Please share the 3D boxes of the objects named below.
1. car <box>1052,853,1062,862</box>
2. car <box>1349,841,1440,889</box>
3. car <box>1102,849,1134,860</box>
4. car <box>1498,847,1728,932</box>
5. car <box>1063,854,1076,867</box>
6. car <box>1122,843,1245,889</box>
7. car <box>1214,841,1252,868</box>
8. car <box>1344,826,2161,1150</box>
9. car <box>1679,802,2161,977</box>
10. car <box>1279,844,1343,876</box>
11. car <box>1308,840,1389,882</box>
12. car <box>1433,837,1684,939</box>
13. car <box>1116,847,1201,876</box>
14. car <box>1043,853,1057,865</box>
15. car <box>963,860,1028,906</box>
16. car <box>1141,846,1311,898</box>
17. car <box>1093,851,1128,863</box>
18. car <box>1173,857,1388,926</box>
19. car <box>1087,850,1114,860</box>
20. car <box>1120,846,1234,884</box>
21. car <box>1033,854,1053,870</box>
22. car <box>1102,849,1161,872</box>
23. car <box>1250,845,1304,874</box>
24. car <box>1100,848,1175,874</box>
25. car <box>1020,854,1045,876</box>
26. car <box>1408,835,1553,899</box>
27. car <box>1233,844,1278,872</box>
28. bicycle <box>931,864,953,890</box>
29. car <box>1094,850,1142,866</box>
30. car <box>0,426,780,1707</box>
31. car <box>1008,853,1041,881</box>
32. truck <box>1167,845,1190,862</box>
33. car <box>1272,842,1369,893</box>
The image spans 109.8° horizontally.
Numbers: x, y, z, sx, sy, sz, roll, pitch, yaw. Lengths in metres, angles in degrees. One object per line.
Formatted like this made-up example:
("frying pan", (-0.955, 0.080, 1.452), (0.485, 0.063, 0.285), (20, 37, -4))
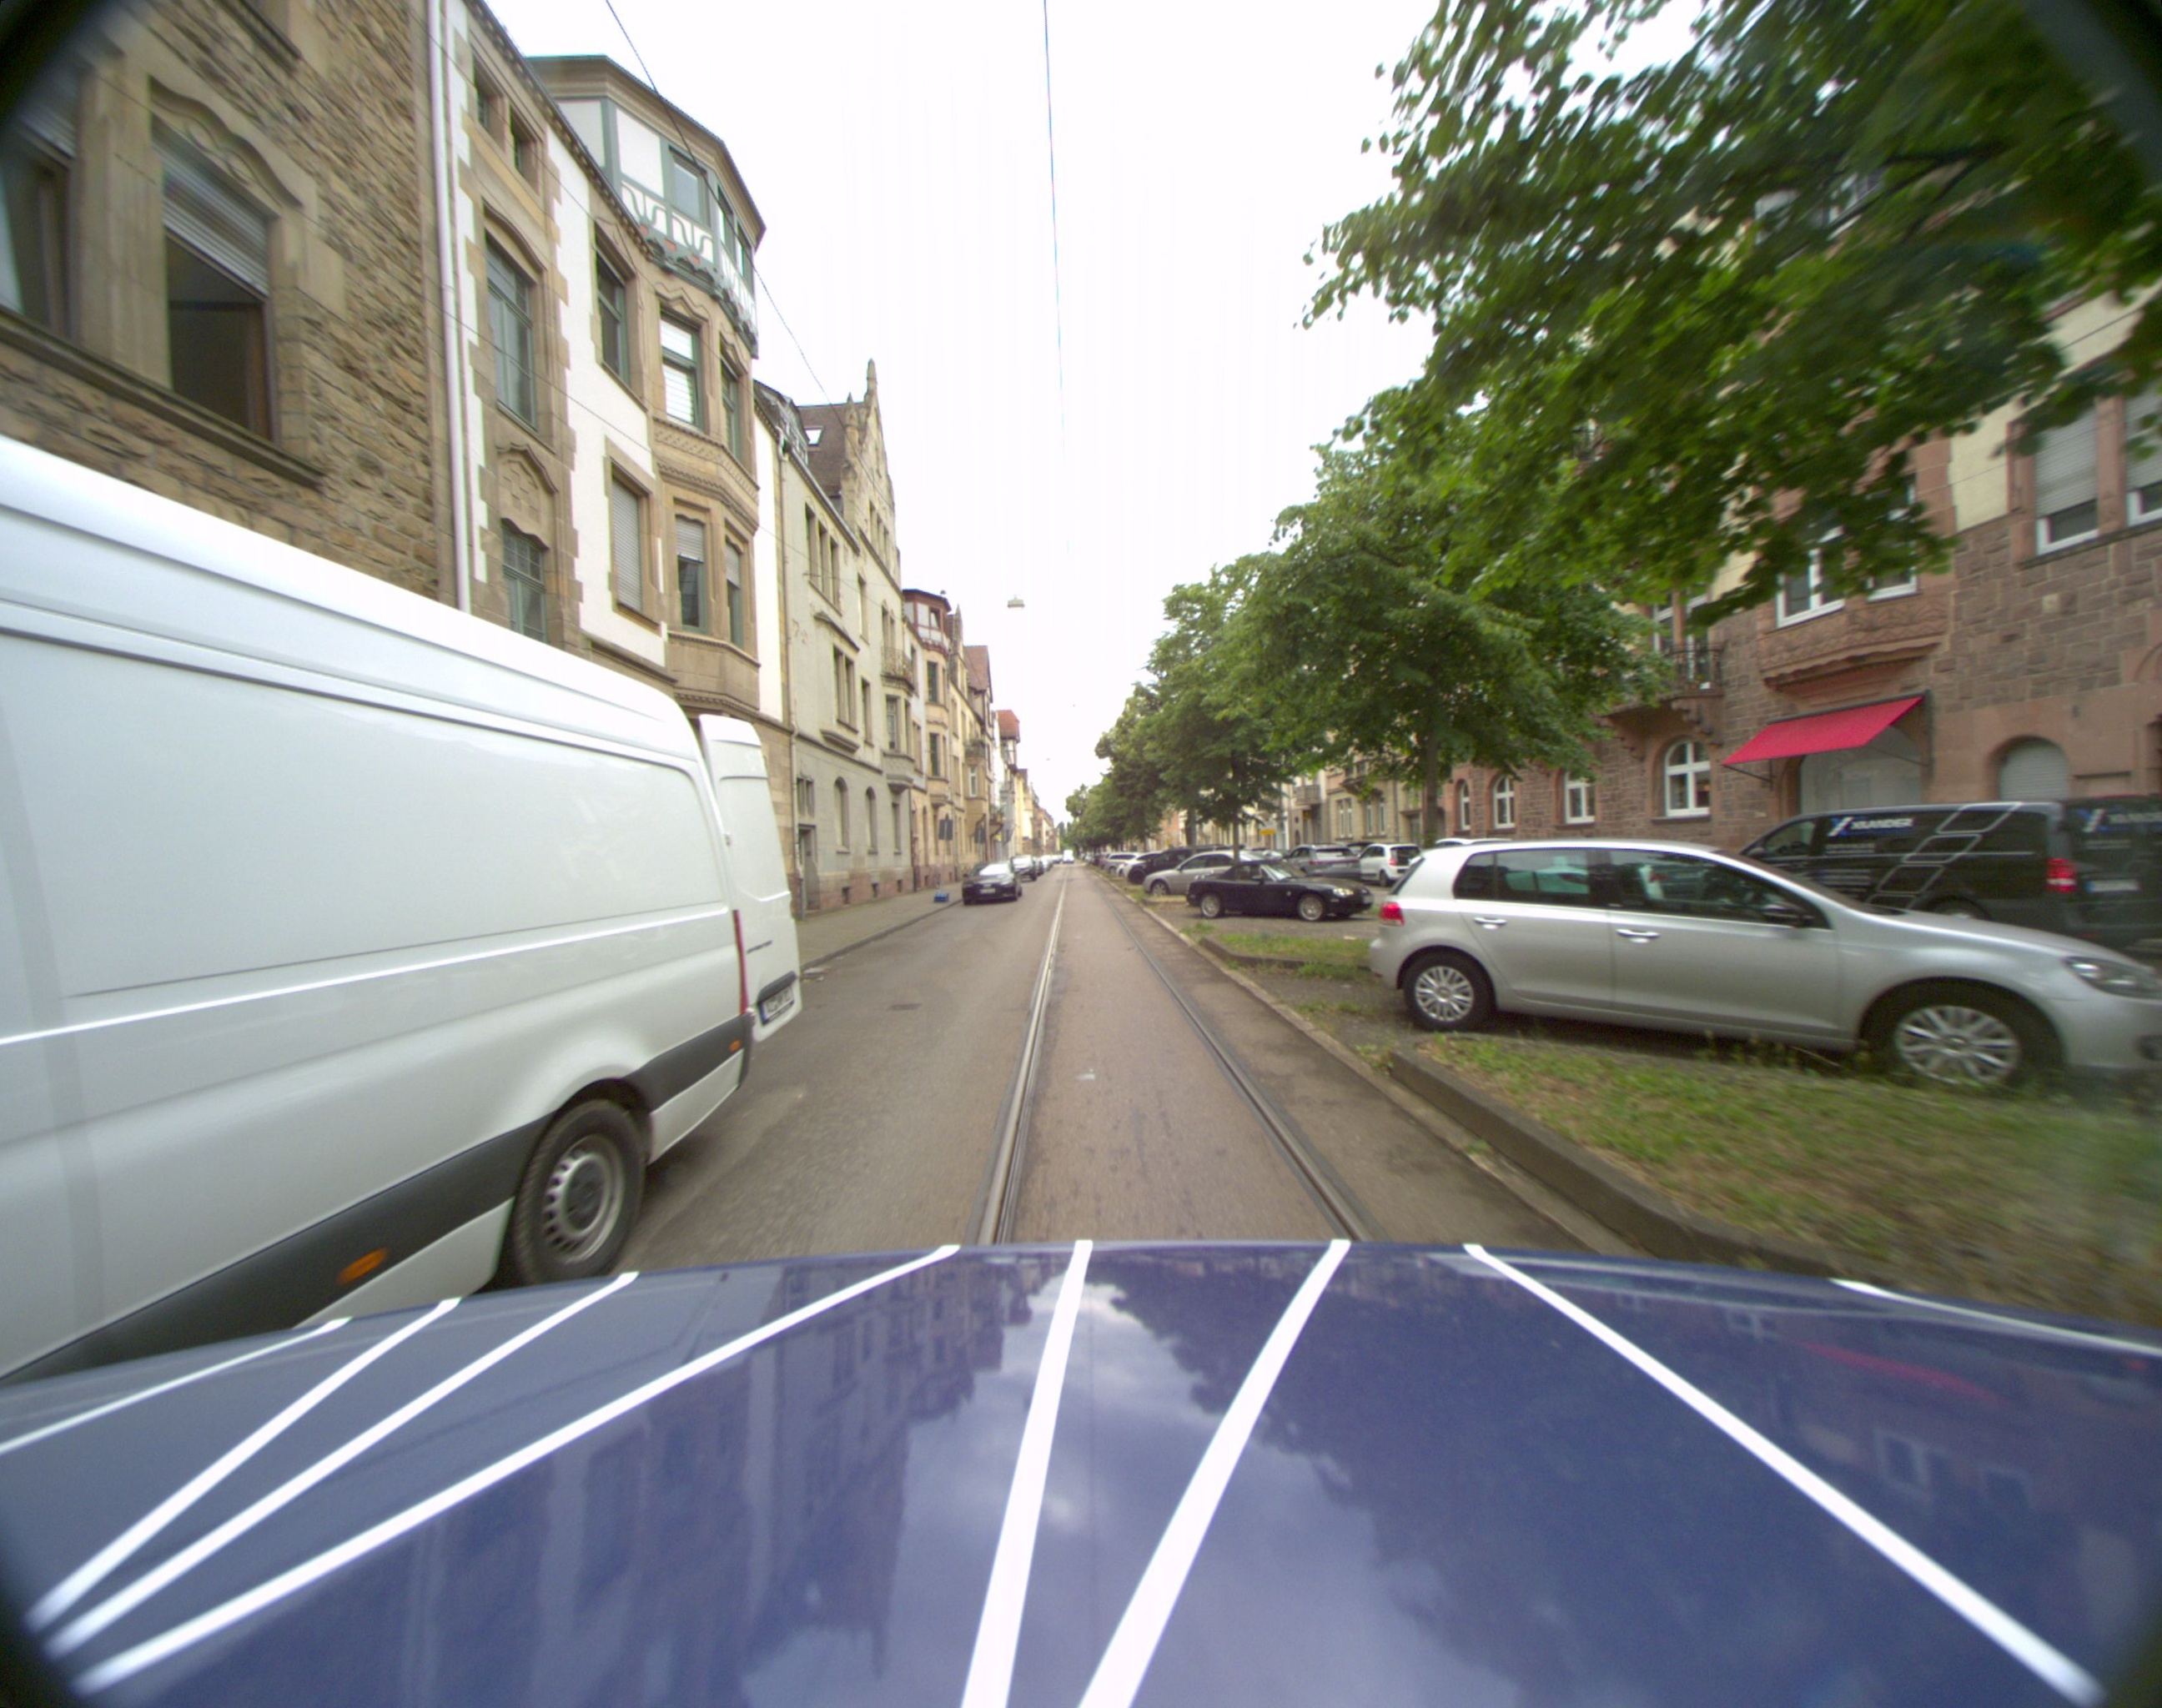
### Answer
("car", (-4.245, 0.571, 137.012), (1.676, 1.520, 4.212), (-3, 1, -1))
("car", (11.222, 0.336, 27.479), (1.666, 1.551, 3.721), (-2, 1, -1))
("car", (5.080, 0.113, 105.113), (3.991, 1.407, 1.901), (-2, -1, 20))
("car", (11.298, 0.641, 16.617), (1.745, 1.533, 4.553), (-2, 1, -1))
("car", (-1.913, 1.006, 125.113), (1.999, 2.002, 3.999), (-2, 1, -1))
("car", (3.934, 0.467, 29.675), (4.520, 1.624, 1.768), (-2, 1, 44))
("car", (11.258, 0.042, 56.436), (1.855, 1.860, 4.431), (-2, 0, 0))
("car", (4.237, 0.658, 5.323), (4.106, 1.475, 1.800), (-2, 1, 40))
("car", (11.149, 0.320, 10.384), (1.818, 1.771, 5.116), (-2, 1, -1))
("car", (11.329, 0.266, 37.694), (1.809, 1.430, 4.229), (-2, 1, -1))
("car", (11.285, 0.246, 32.374), (1.773, 1.619, 4.319), (-2, 1, -1))
("car", (8.450, 0.499, 14.044), (1.648, 1.495, 4.621), (-2, 1, -1))
("car", (4.089, 0.411, 40.234), (4.119, 1.304, 1.867), (-3, 1, 43))
("car", (-4.154, 0.642, 101.549), (1.635, 1.520, 4.212), (-3, 1, -1))
("car", (-3.053, 0.991, 28.109), (1.805, 1.430, 5.195), (-3, 0, -1))
("car", (4.209, 0.545, 22.587), (4.655, 1.360, 1.761), (-2, 1, 42))
("car", (3.625, 0.358, 93.564), (3.989, 1.407, 1.902), (-2, -1, 38))
("car", (4.044, 0.745, 15.782), (3.952, 1.195, 1.671), (-2, 1, 43))
("car", (3.274, 0.147, 125.145), (3.989, 1.602, 1.902), (-2, -1, 30))
("car", (4.120, 0.486, 33.122), (4.529, 1.482, 2.040), (-2, 1, 44))
("car", (-3.989, 0.827, 80.069), (1.793, 1.504, 4.213), (-5, 0, 0))
("car", (3.836, 0.494, 58.023), (4.195, 1.600, 1.728), (-1, 2, 41))
("car", (11.026, 0.273, 43.000), (1.809, 1.481, 4.386), (-2, 1, -1))
("car", (3.498, 0.461, 48.043), (1.867, 1.484, 4.552), (-4, 1, -45))
("car", (-3.716, 0.799, 59.049), (1.702, 1.504, 4.418), (-5, 0, -2))
("car", (11.456, 0.323, 22.203), (1.745, 1.617, 4.553), (-2, 1, -1))
("car", (11.079, 0.225, 48.495), (1.809, 1.670, 4.272), (-2, 1, -1))
("bicycle", (-6.668, 1.086, 36.527), (0.612, 1.120, 1.916), (-5, 0, -1))
("car", (3.672, 0.418, 75.897), (1.889, 1.458, 4.595), (-3, 0, -45))
("car", (-2.873, 0.564, 0.890), (2.018, 2.534, 7.016), (-4, 0, 1))
("car", (-3.455, 0.758, 47.196), (1.764, 1.613, 4.693), (-3, 0, -2))
("truck", (11.051, -0.077, 86.268), (2.150, 1.845, 6.064), (-3, 0, 3))
("car", (8.230, 0.413, 26.543), (1.809, 1.570, 4.545), (-2, 1, -1))
